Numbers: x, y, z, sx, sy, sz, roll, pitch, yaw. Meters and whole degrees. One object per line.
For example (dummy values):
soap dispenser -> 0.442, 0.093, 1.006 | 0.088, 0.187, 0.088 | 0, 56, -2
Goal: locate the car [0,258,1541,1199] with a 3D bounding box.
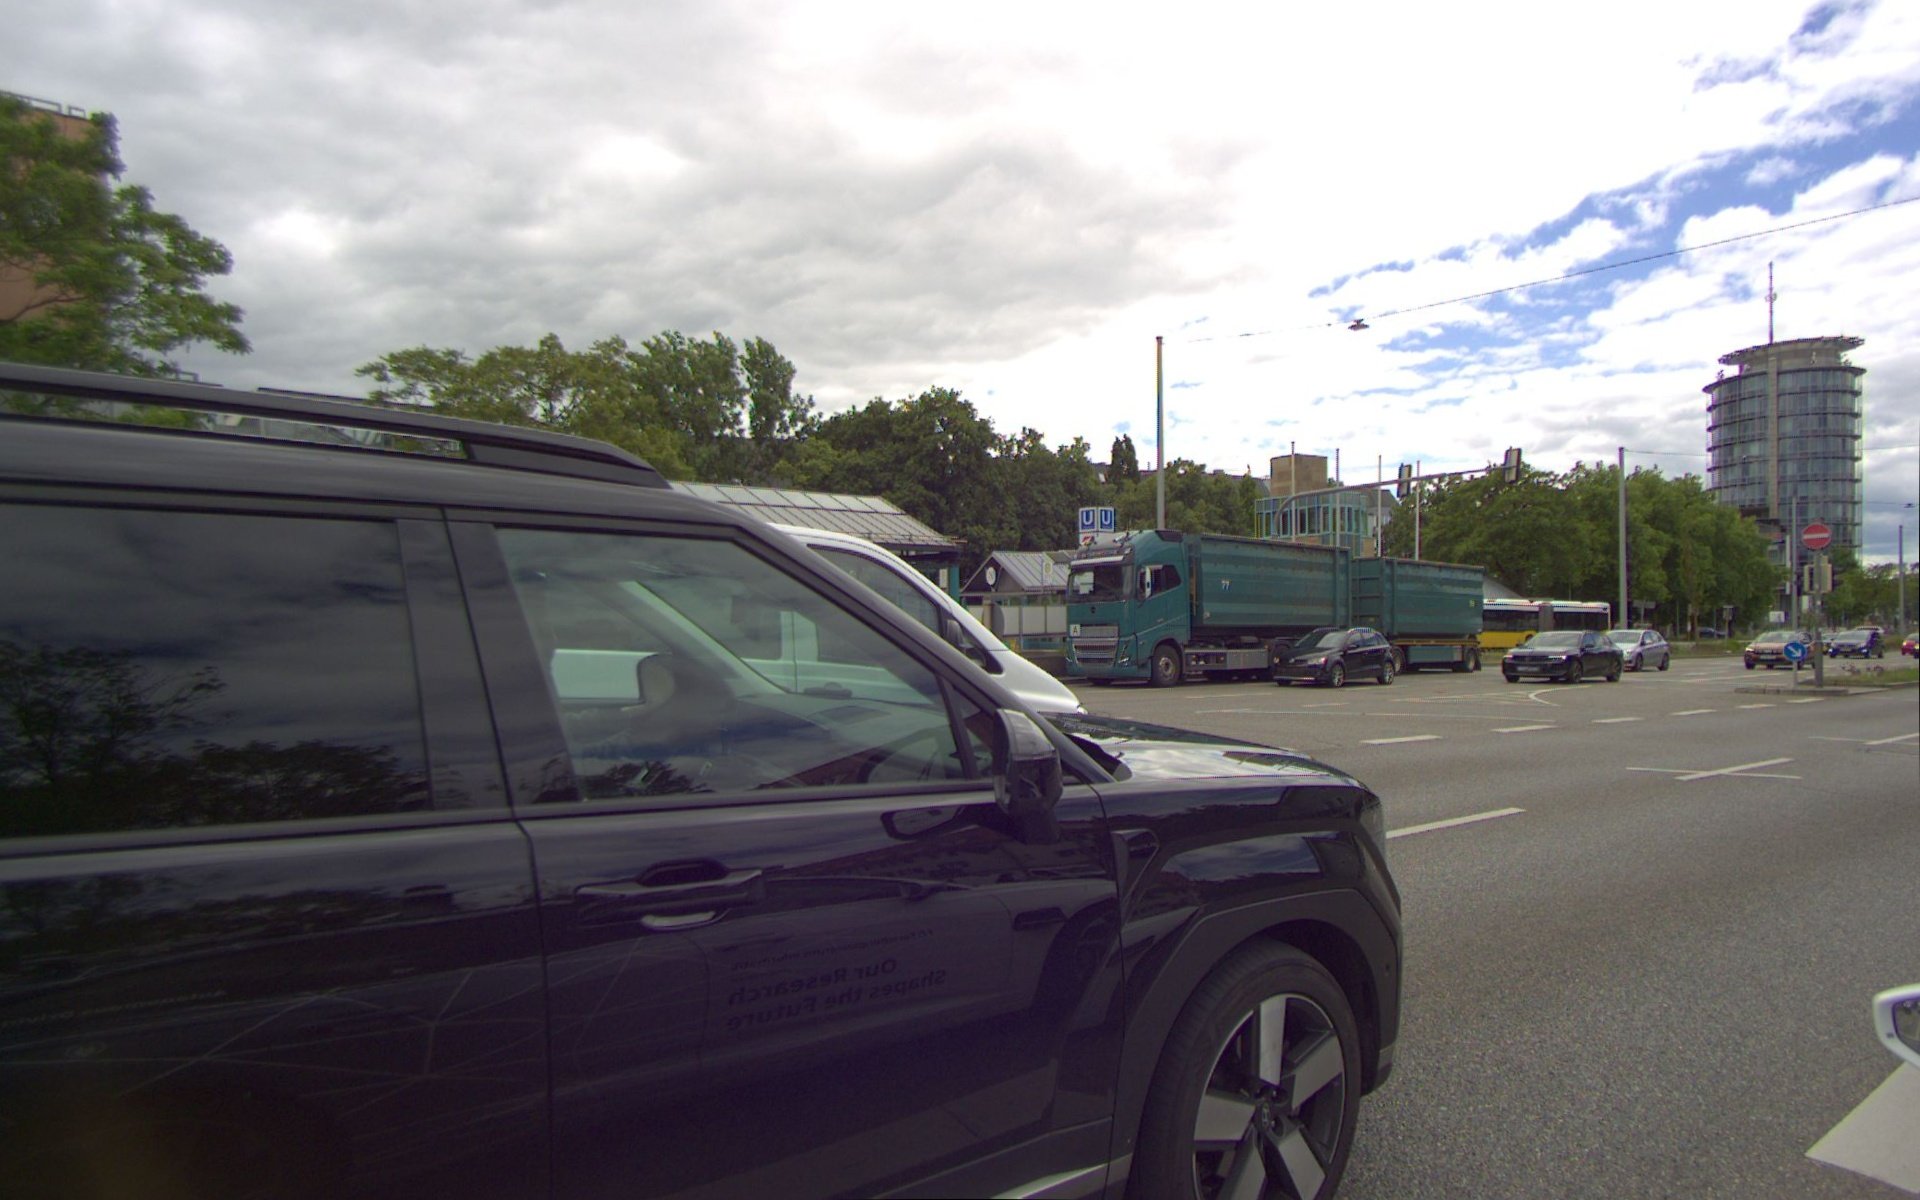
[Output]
car -> -0.862, 0.566, 2.203 | 4.631, 1.775, 1.910 | 1, -1, -35

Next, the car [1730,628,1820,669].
car -> 32.759, 1.923, 40.336 | 3.964, 1.536, 1.979 | 2, -2, -38

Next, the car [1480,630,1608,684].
car -> 16.364, 1.547, 28.060 | 4.415, 1.350, 1.974 | 2, -2, -44

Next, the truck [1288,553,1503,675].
truck -> 15.188, 0.586, 34.786 | 7.951, 3.776, 3.345 | 2, -2, -36

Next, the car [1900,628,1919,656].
car -> 56.288, 2.417, 58.225 | 3.963, 1.595, 1.979 | 2, -2, -37

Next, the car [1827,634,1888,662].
car -> 52.900, 2.819, 59.191 | 3.963, 1.595, 1.979 | 2, -2, -37

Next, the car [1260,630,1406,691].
car -> 9.700, 1.517, 26.008 | 3.965, 1.436, 1.784 | 2, -2, -38

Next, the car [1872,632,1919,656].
car -> 64.541, 3.025, 69.122 | 3.964, 1.595, 1.979 | 2, -2, -38

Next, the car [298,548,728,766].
car -> -4.999, 0.604, 11.496 | 4.142, 2.040, 1.978 | 2, -2, -38

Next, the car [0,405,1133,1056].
car -> -1.519, 0.437, 5.392 | 5.027, 2.040, 1.860 | 1, 0, -36

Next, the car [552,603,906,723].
car -> -3.451, 0.951, 15.792 | 5.225, 1.606, 1.752 | 2, -3, -40

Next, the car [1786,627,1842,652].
car -> 55.043, 2.538, 64.739 | 3.963, 1.595, 1.979 | 2, -2, -37

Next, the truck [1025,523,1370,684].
truck -> 7.102, 0.230, 28.452 | 11.184, 3.777, 3.341 | 2, -1, -39
